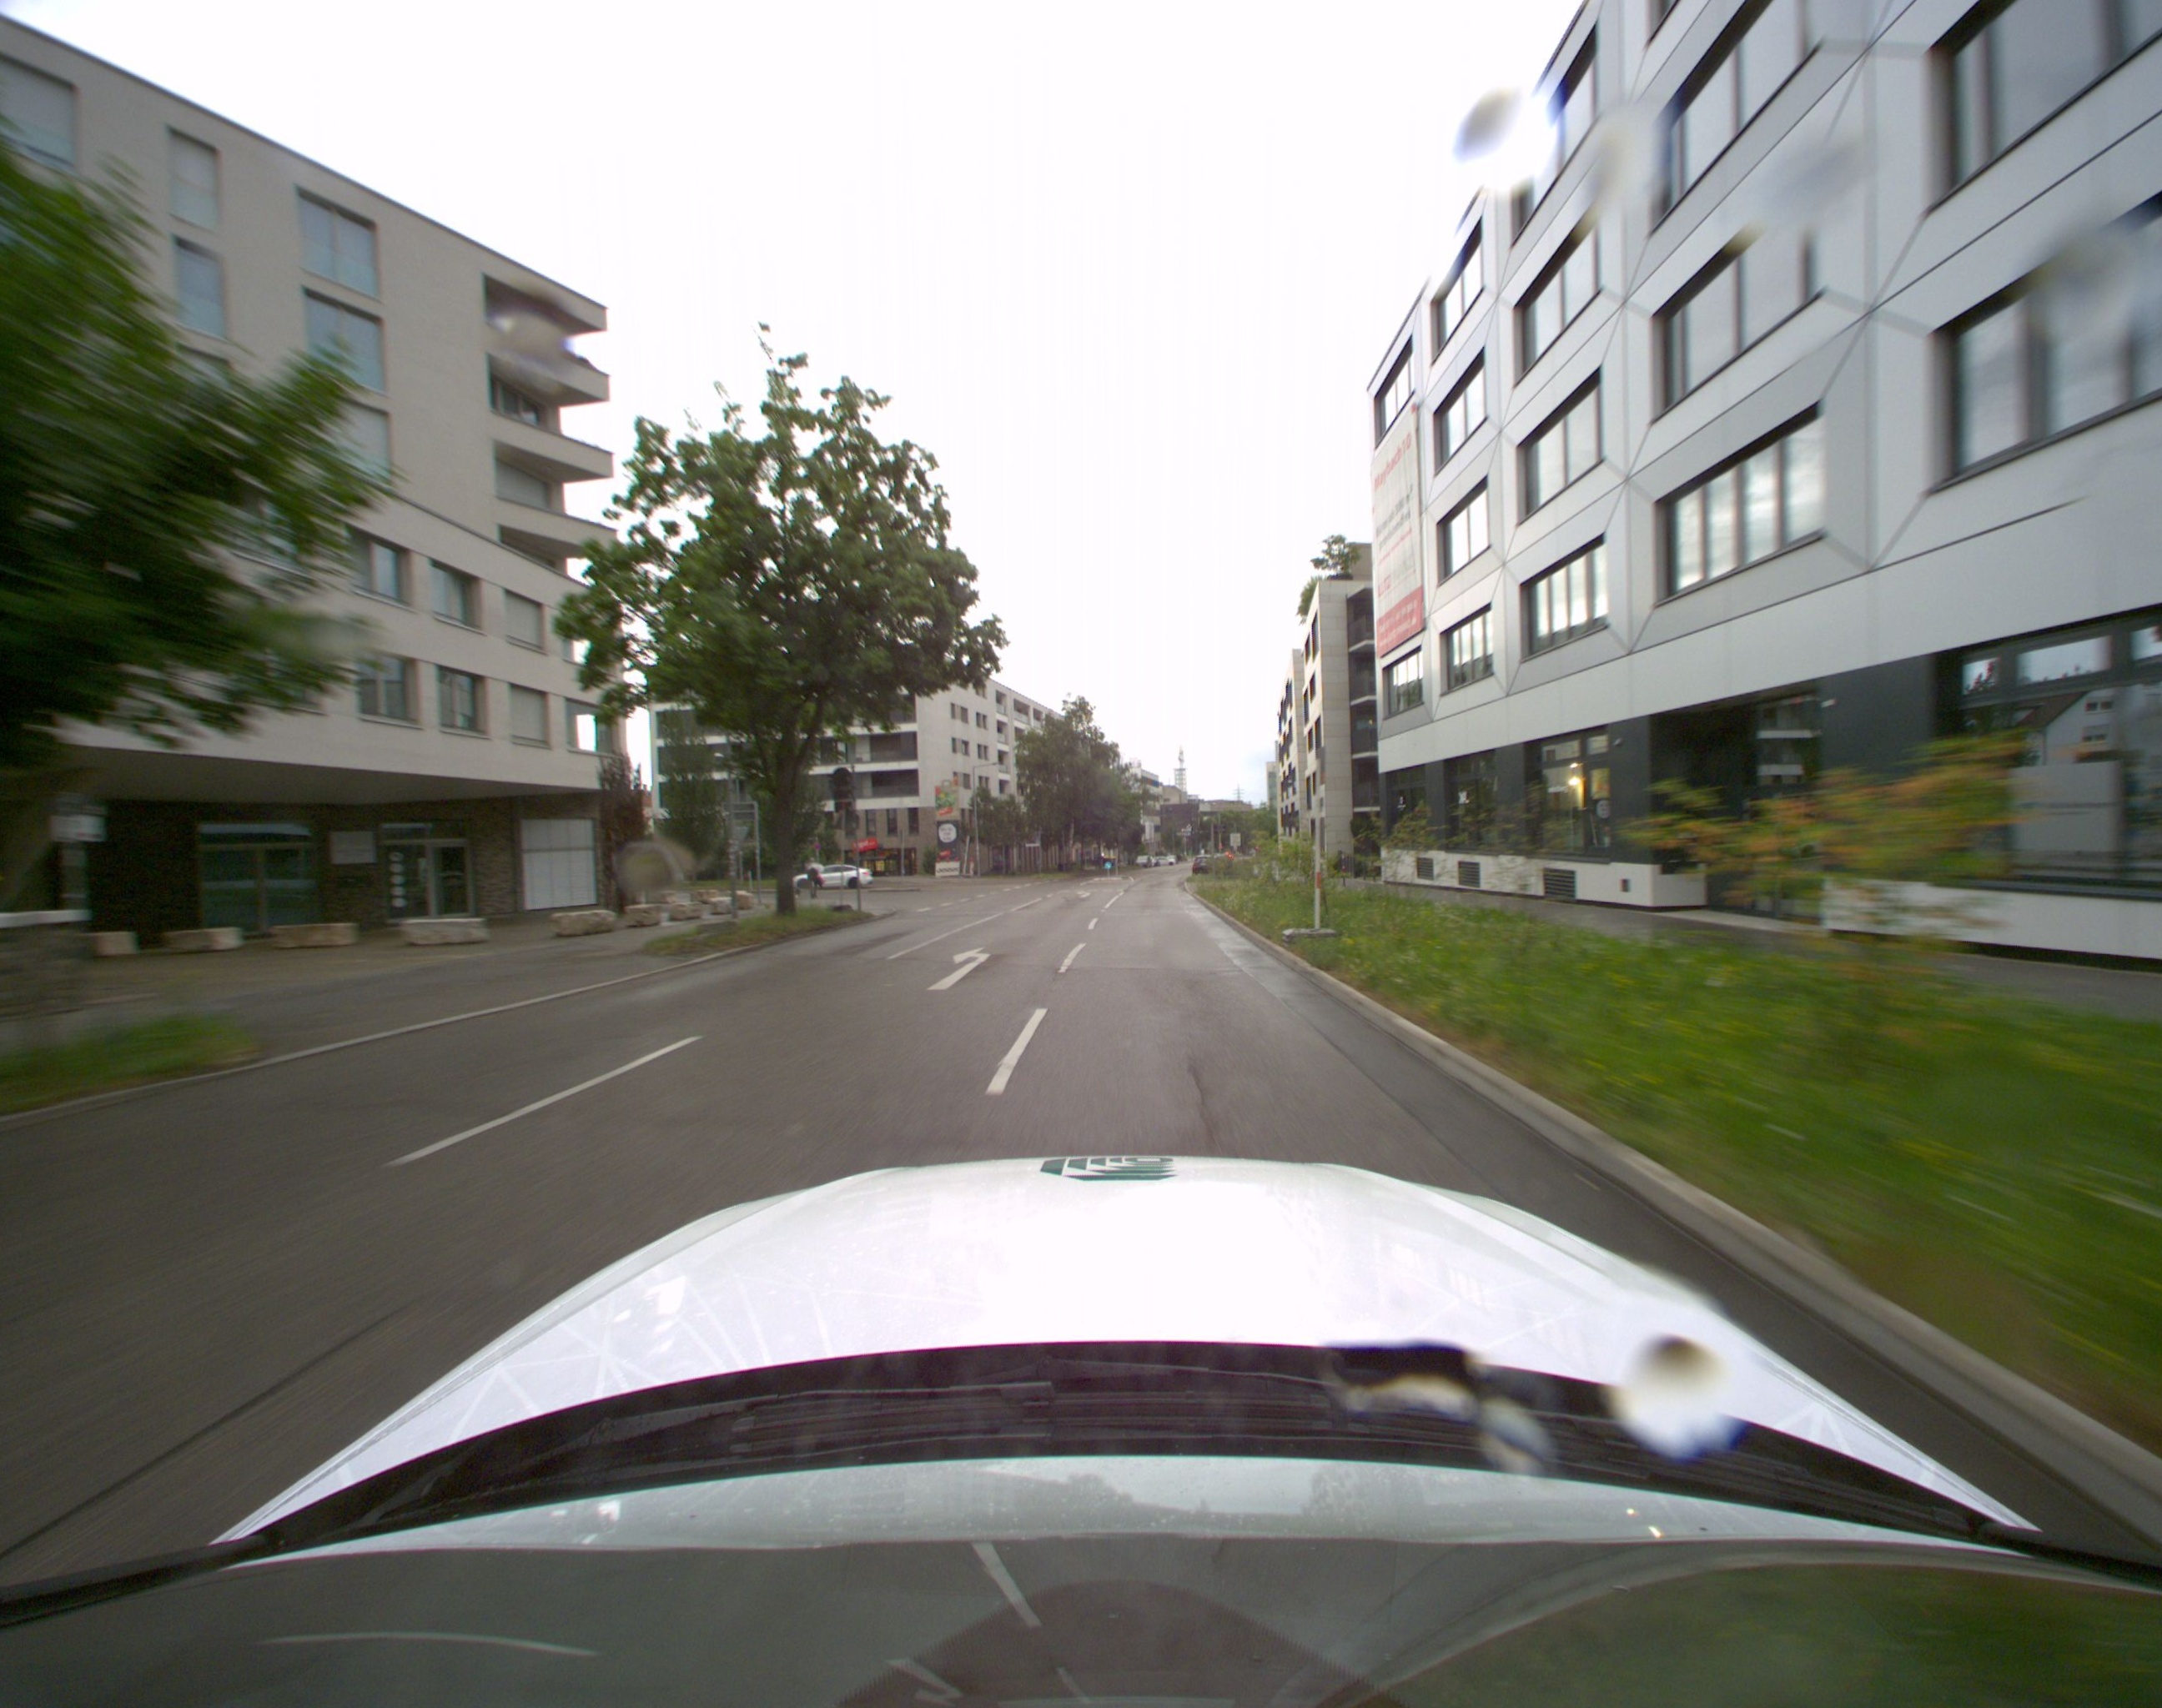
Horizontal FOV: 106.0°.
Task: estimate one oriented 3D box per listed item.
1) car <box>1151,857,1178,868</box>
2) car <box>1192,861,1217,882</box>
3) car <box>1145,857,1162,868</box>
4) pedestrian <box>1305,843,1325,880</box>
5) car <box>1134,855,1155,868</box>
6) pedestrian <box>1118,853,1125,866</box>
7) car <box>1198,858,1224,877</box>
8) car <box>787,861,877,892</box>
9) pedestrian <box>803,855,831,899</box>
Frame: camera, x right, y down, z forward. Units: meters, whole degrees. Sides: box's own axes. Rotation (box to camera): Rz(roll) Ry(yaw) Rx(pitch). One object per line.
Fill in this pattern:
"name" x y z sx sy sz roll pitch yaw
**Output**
"car" 12.876 1.292 125.695 3.973 1.577 1.998 -2 0 -3
"car" 9.394 1.292 61.625 1.535 1.478 3.674 -1 0 14
"car" 10.656 1.248 118.789 1.784 1.516 4.262 -1 -1 14
"pedestrian" 11.955 0.387 41.676 0.818 1.796 0.779 -2 -1 7
"car" 8.508 1.012 109.009 2.064 1.609 4.700 -3 0 12
"pedestrian" 5.485 0.760 110.165 0.704 1.683 0.959 -2 0 9
"car" 10.673 1.098 66.781 1.795 1.484 4.510 -1 -1 13
"car" -14.629 1.315 48.089 4.807 1.661 2.056 -1 -1 -11
"pedestrian" -12.311 1.074 37.969 1.054 2.014 1.096 -1 -1 -9
